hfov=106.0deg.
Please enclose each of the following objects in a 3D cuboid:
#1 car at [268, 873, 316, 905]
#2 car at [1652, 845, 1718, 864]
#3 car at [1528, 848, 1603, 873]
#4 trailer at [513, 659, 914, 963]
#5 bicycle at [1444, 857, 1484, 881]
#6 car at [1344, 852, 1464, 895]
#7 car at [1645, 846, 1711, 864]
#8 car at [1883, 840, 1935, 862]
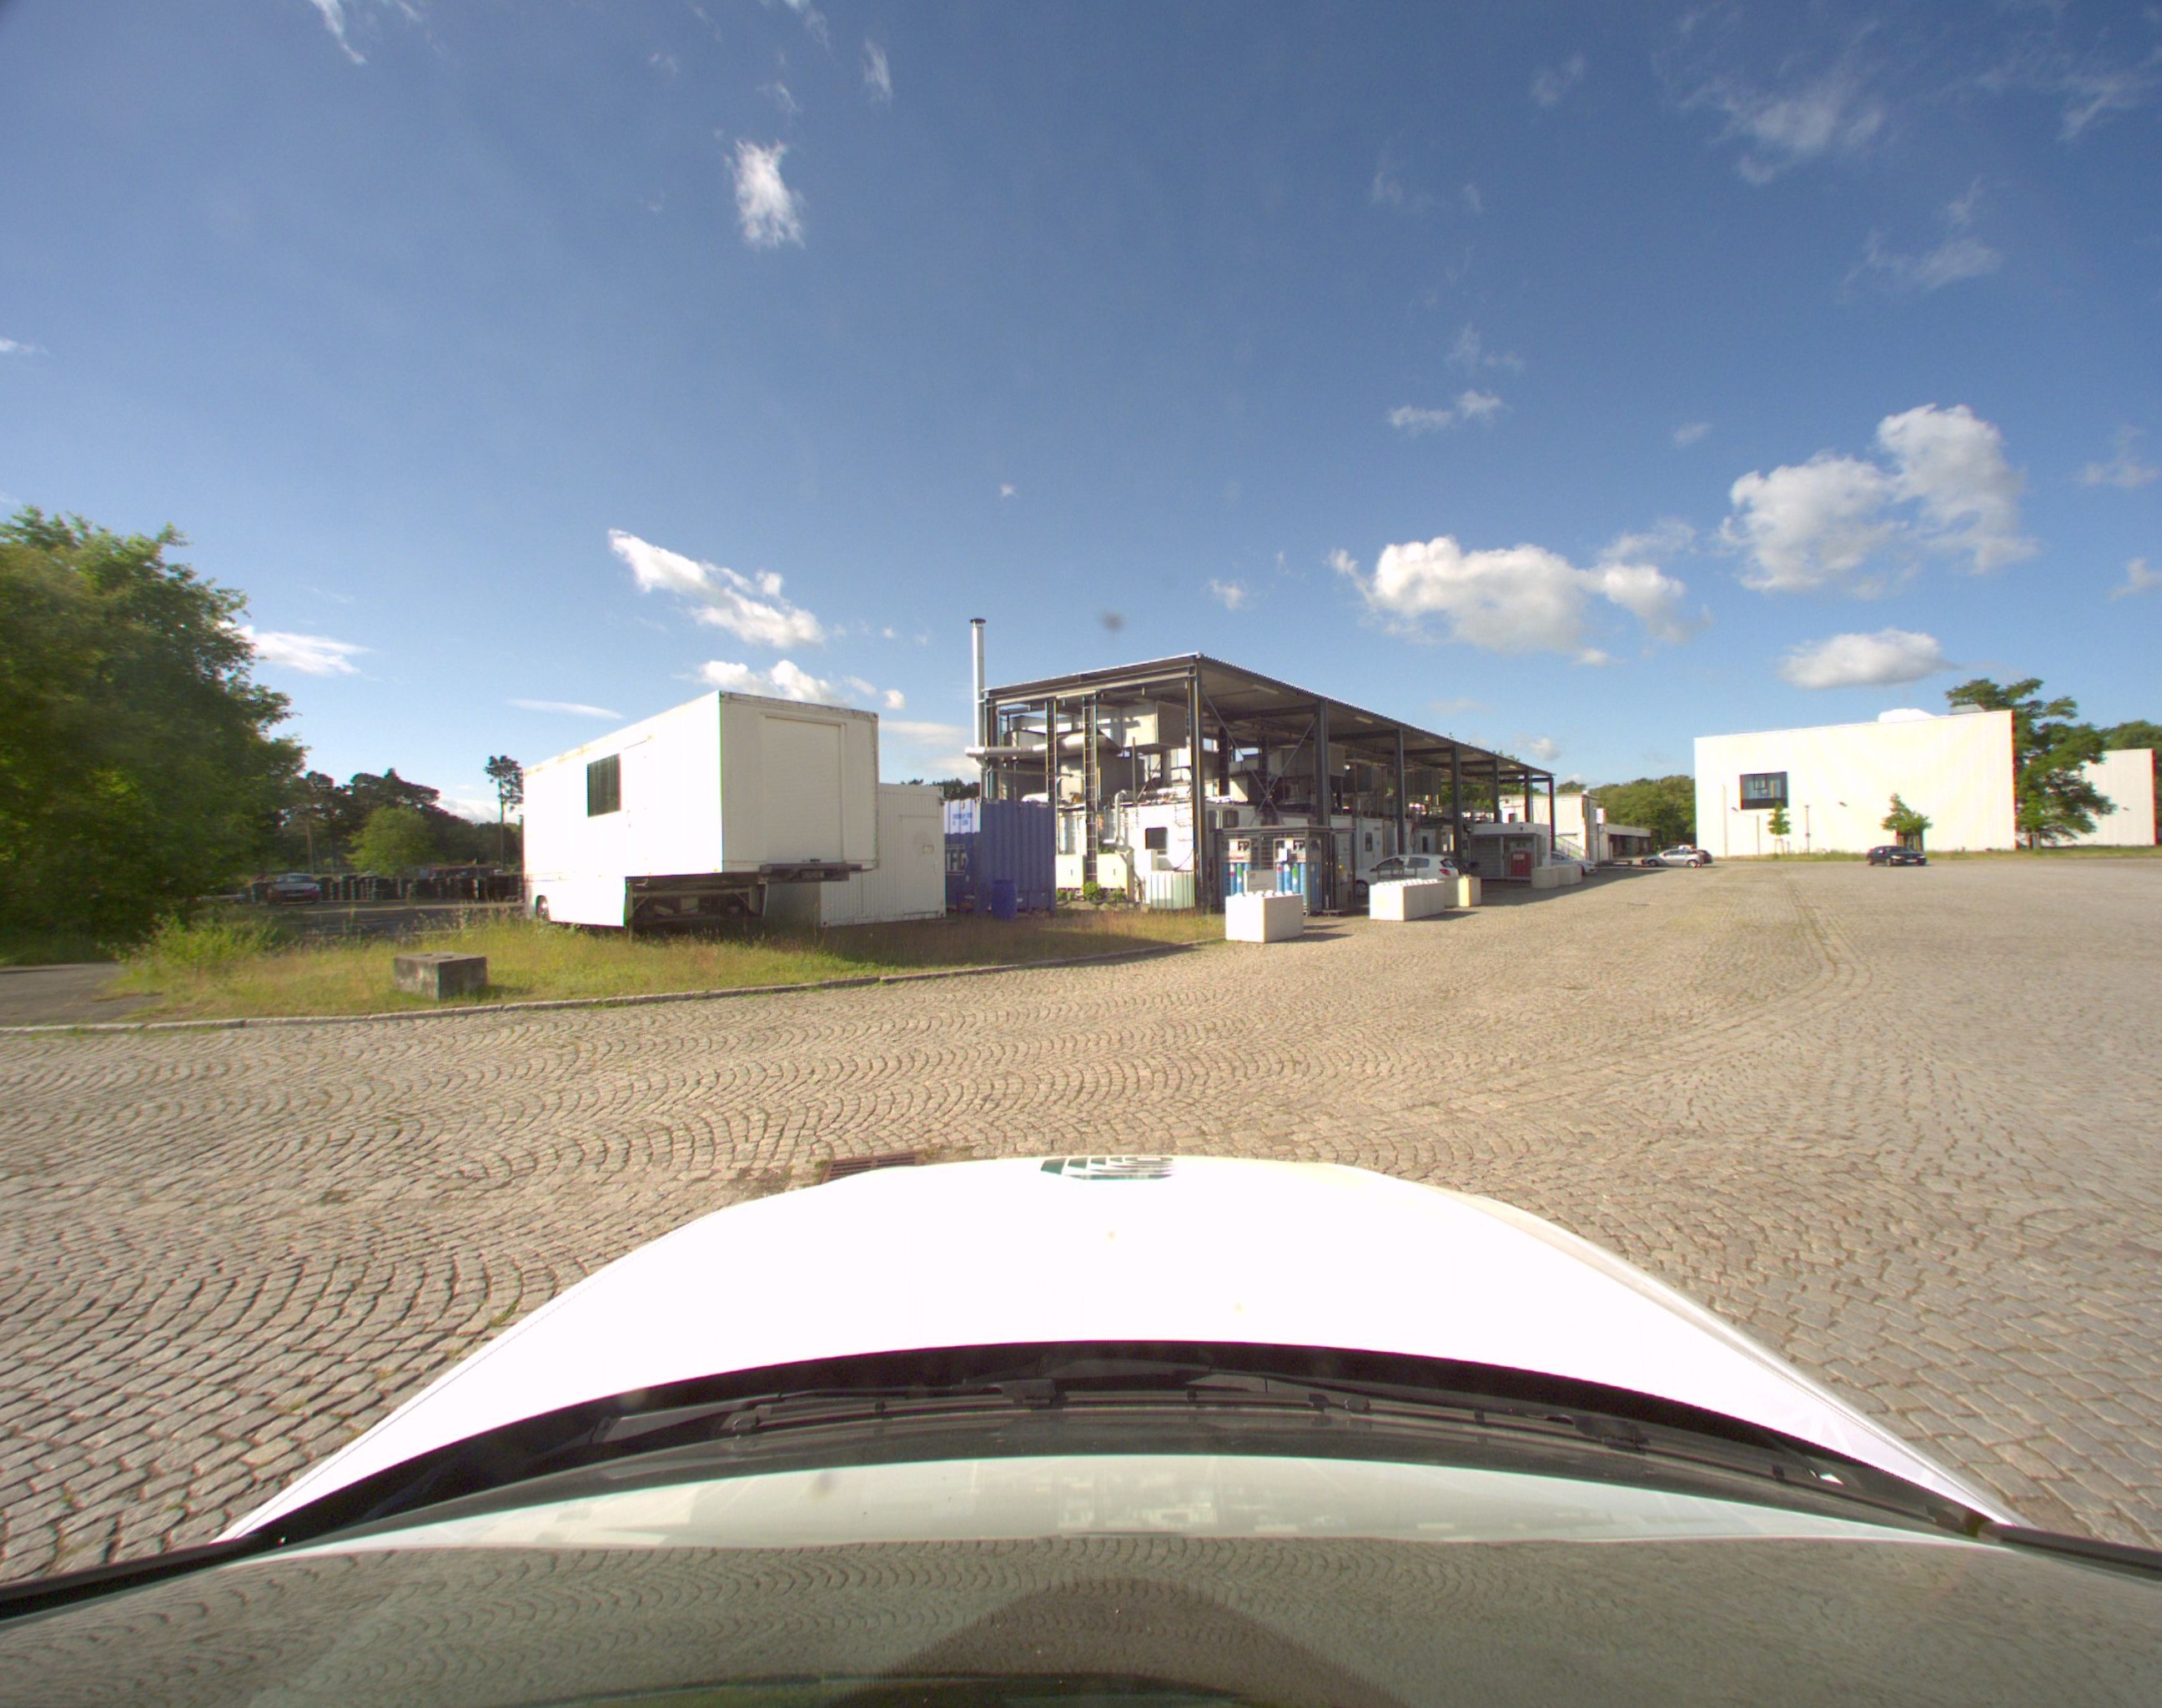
[{"bbox_3d":[-37.211,1.610,38.462,1.554,1.407,3.533,-1,-1,-43],"label":"car"},{"bbox_3d":[50.087,0.090,67.581,4.302,1.470,1.751,-2,-1,39],"label":"car"},{"bbox_3d":[28.996,0.407,48.762,3.650,1.409,1.686,-2,-1,38],"label":"car"},{"bbox_3d":[-7.495,-0.469,15.152,10.748,3.911,2.798,-2,-1,43],"label":"trailer"},{"bbox_3d":[18.407,0.706,39.140,1.649,1.136,0.488,-2,-1,39],"label":"bicycle"},{"bbox_3d":[10.950,0.663,27.669,3.428,1.376,1.621,-2,-1,37],"label":"car"},{"bbox_3d":[47.810,0.098,65.241,4.134,1.403,1.751,-2,-1,39],"label":"car"},{"bbox_3d":[55.942,-0.189,55.064,1.718,1.429,4.102,-2,-1,35],"label":"car"}]
